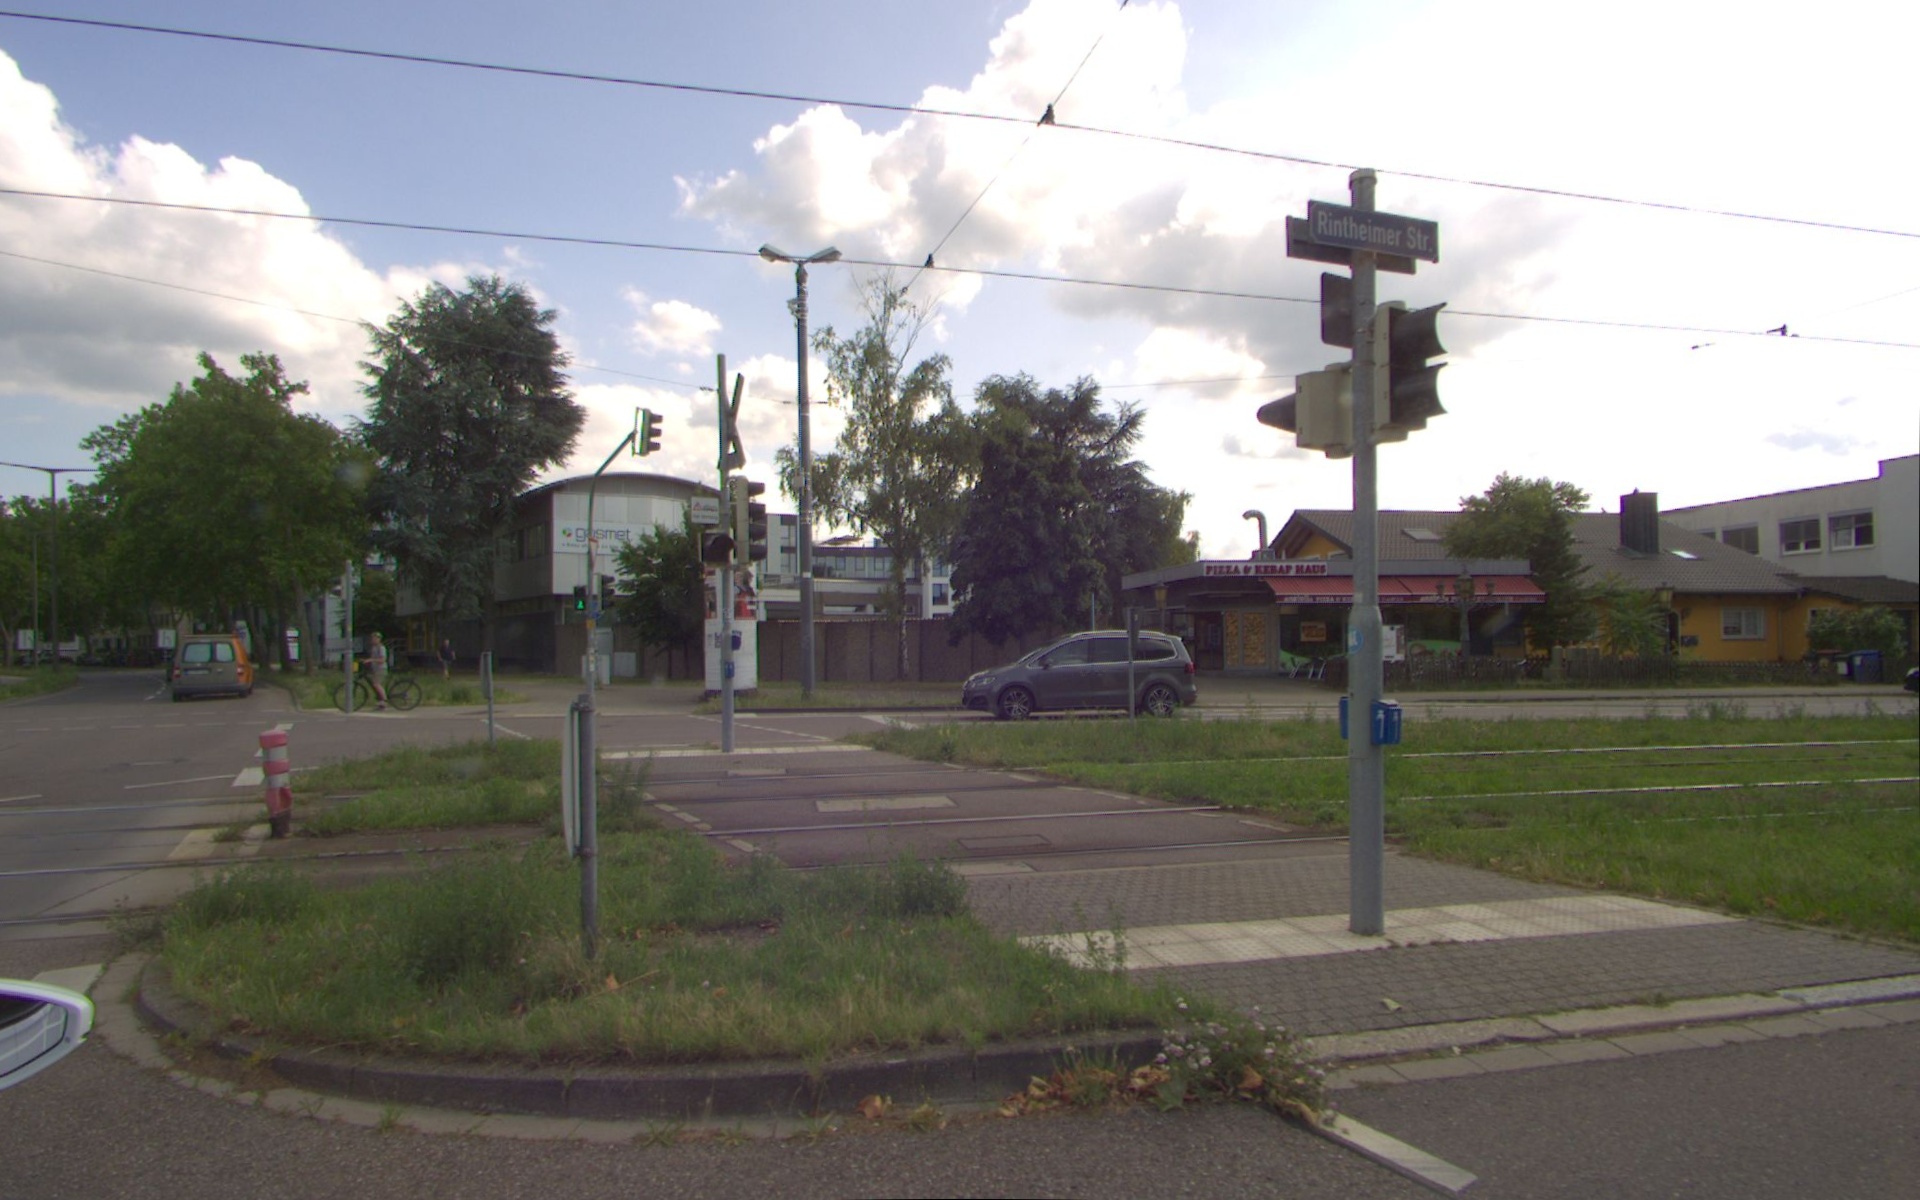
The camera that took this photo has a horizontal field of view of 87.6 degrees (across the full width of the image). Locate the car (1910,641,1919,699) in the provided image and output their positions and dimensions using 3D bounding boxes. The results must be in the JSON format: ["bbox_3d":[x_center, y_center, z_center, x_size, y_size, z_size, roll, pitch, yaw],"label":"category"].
[{"bbox_3d":[28.308,1.817,26.232,1.970,1.599,4.563,1,-3,-27],"label":"car"}]

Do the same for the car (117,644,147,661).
[{"bbox_3d":[-86.530,5.451,104.580,3.957,1.595,1.982,0,0,44],"label":"car"}]

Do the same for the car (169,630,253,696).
[{"bbox_3d":[-22.458,1.846,30.157,1.860,1.822,4.342,1,-3,-35],"label":"car"}]

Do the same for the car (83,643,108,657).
[{"bbox_3d":[-105.853,6.120,122.573,3.957,1.595,1.982,0,0,44],"label":"car"}]

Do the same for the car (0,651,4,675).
[{"bbox_3d":[-58.463,3.767,59.962,1.646,1.288,3.732,1,0,-45],"label":"car"}]

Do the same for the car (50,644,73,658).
[{"bbox_3d":[-116.831,6.601,130.213,3.957,1.595,1.982,0,0,44],"label":"car"}]

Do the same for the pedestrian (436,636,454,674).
[{"bbox_3d":[-22.040,2.356,42.818,0.614,1.590,0.555,0,0,-35],"label":"pedestrian"}]

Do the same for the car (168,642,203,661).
[{"bbox_3d":[-70.914,4.705,91.630,3.957,1.595,1.982,0,0,44],"label":"car"}]

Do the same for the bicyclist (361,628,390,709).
[{"bbox_3d":[-13.581,1.574,23.272,0.536,1.833,0.539,0,0,-26],"label":"bicyclist"}]

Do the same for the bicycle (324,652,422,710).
[{"bbox_3d":[-13.610,1.864,23.266,1.922,1.252,0.539,1,0,-26],"label":"bicycle"}]

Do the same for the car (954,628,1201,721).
[{"bbox_3d":[2.297,1.463,20.346,4.649,1.743,2.000,0,-2,-7],"label":"car"}]

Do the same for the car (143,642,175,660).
[{"bbox_3d":[-79.752,5.090,99.669,3.957,1.595,1.982,0,0,44],"label":"car"}]
